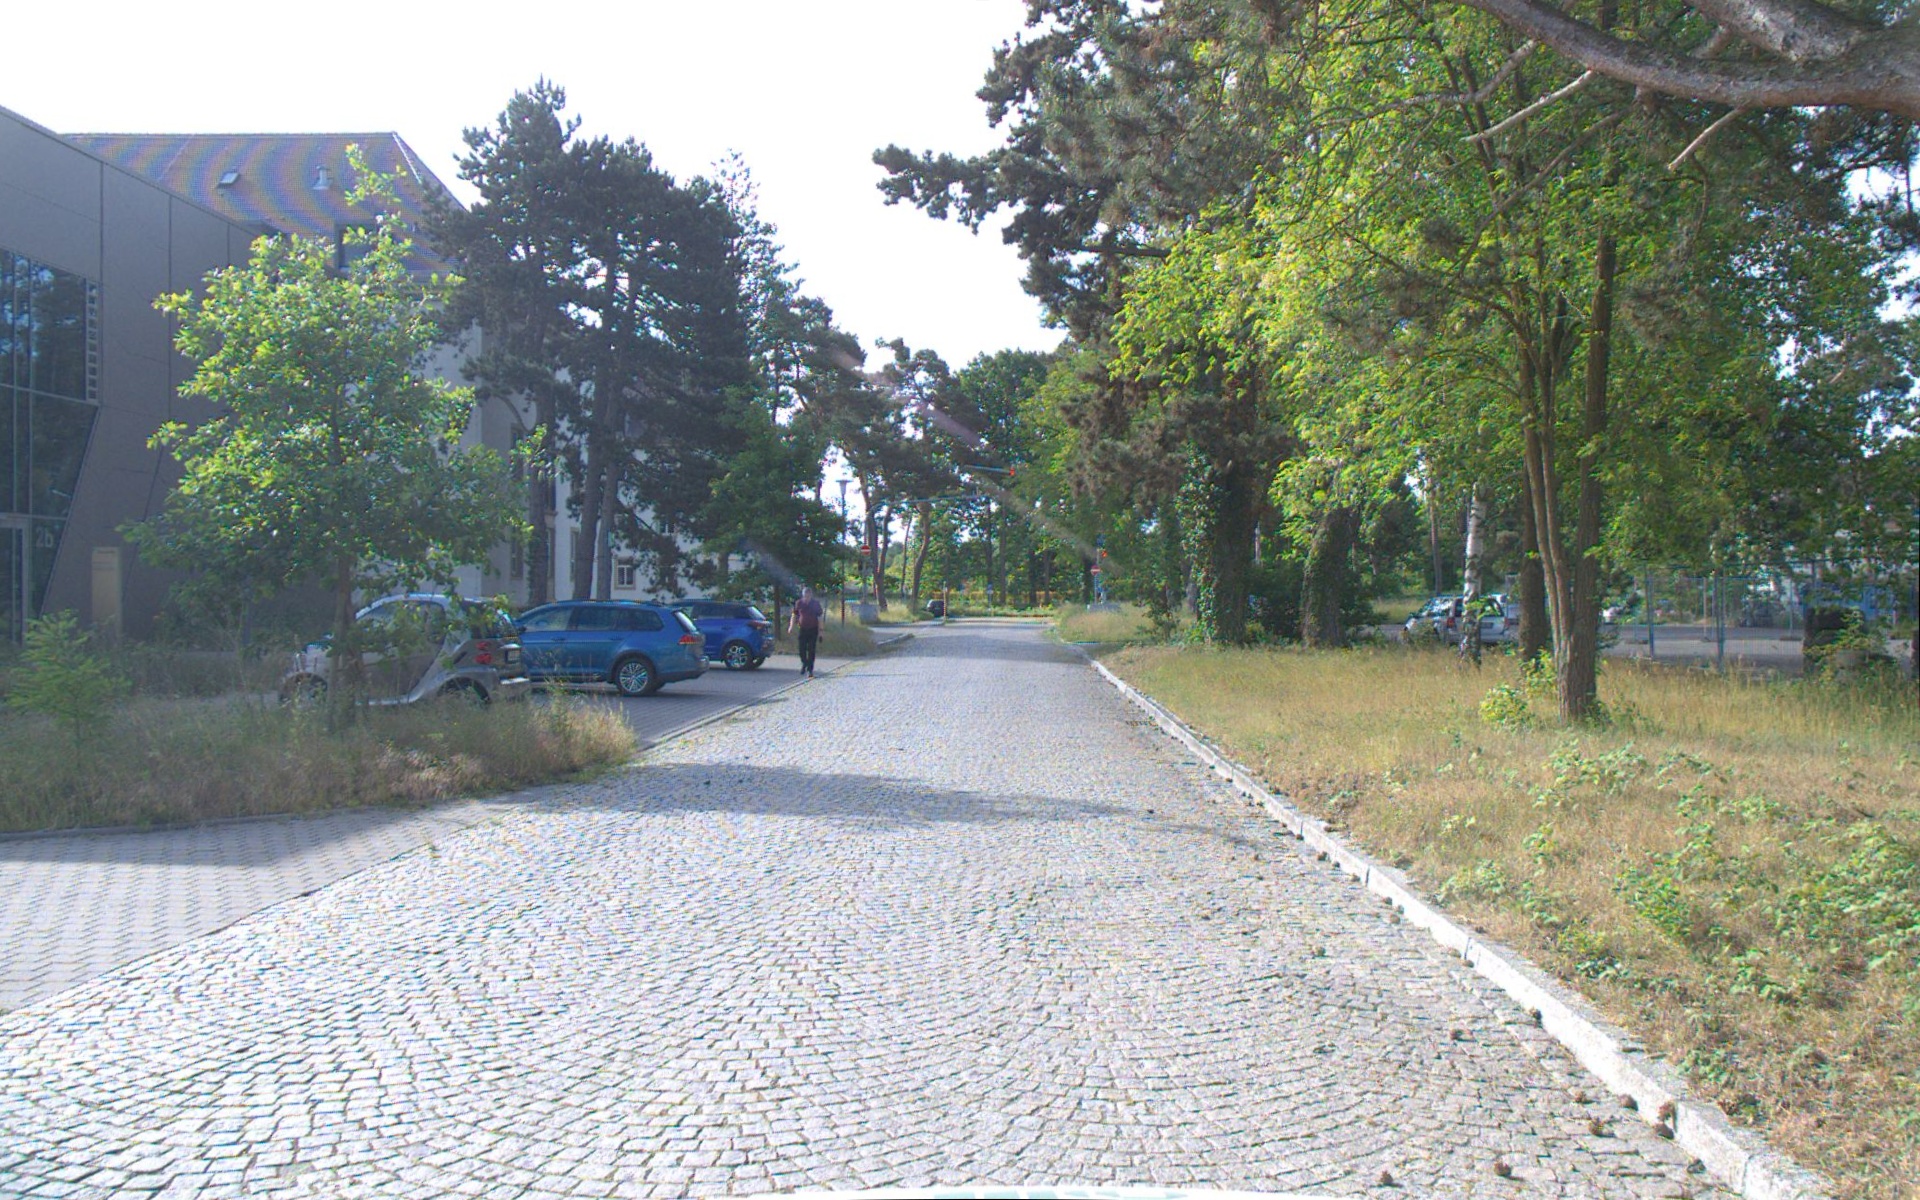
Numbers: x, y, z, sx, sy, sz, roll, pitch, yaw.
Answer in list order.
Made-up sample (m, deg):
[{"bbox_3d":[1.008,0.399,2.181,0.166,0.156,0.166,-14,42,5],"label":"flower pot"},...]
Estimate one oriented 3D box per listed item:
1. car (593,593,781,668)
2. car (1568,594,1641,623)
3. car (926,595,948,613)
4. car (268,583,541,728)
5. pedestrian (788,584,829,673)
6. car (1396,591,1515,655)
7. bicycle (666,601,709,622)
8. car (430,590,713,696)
[{"bbox_3d":[-5.962,0.662,36.382,3.755,1.489,1.720,2,0,3],"label":"car"},{"bbox_3d":[30.698,0.387,78.880,1.696,1.335,4.330,-1,0,-2],"label":"car"},{"bbox_3d":[-1.967,0.365,142.681,1.807,1.512,3.999,0,0,-1],"label":"car"},{"bbox_3d":[-6.488,0.629,19.484,2.643,1.569,1.519,2,0,1],"label":"car"},{"bbox_3d":[-3.126,0.578,34.249,0.788,1.802,1.152,0,0,-3],"label":"pedestrian"},{"bbox_3d":[12.152,0.524,40.780,1.633,1.493,3.998,0,0,-2],"label":"car"},{"bbox_3d":[-14.048,0.567,85.358,2.074,1.065,0.828,0,0,-2],"label":"bicycle"},{"bbox_3d":[-6.215,0.672,26.804,4.171,1.489,1.680,2,2,-2],"label":"car"}]
